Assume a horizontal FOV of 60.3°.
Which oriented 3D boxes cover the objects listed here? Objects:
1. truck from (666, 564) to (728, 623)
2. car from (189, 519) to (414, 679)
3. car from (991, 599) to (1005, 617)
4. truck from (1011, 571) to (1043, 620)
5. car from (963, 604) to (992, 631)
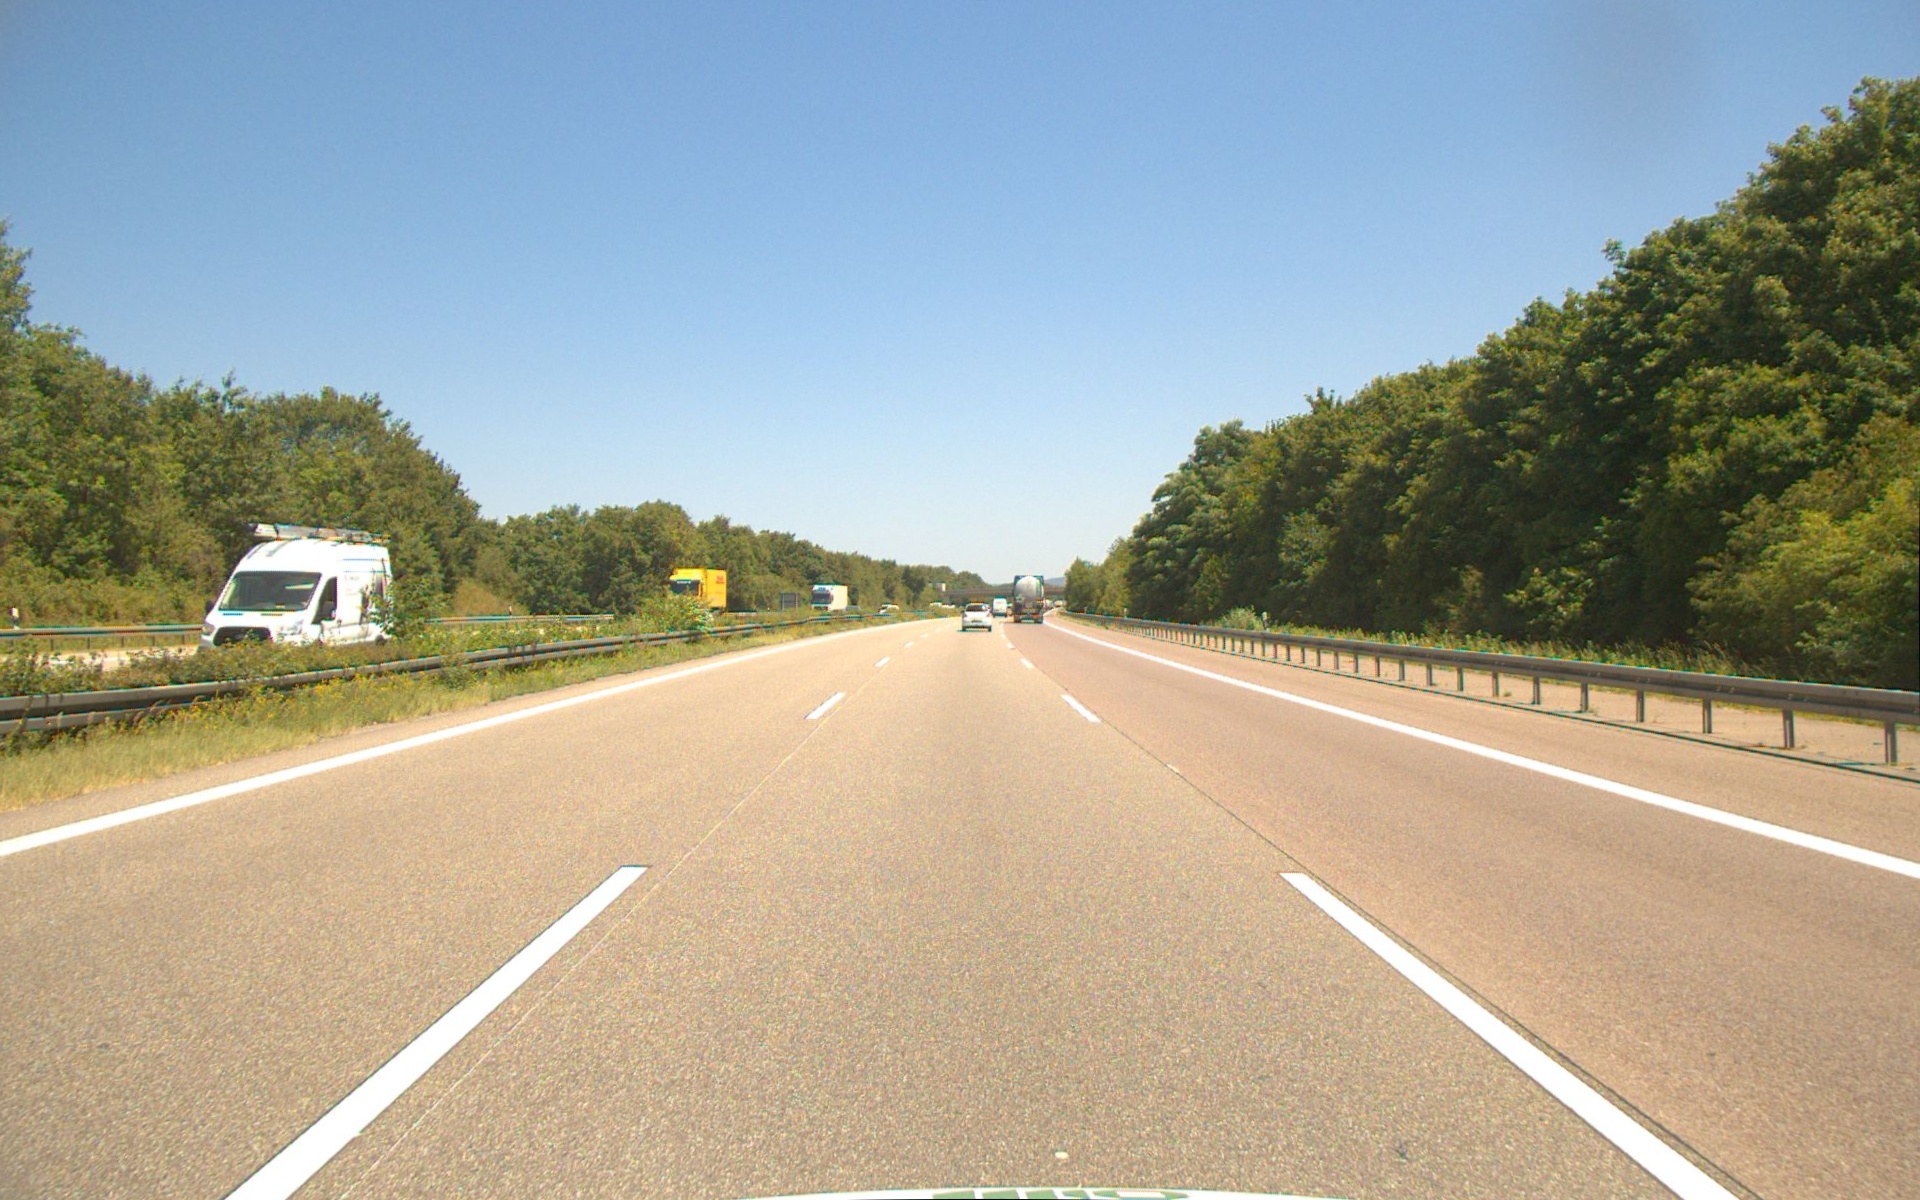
[{"bbox_3d":[-19.208,-0.349,121.421,2.693,4.111,10.792,0,-1,1],"label":"truck"},{"bbox_3d":[-12.697,-0.014,32.388,2.045,2.827,5.828,0,0,0],"label":"car"},{"bbox_3d":[5.274,1.115,229.407,1.952,2.384,4.387,0,0,1],"label":"car"},{"bbox_3d":[5.799,-0.375,144.515,2.682,4.123,10.456,0,0,2],"label":"truck"},{"bbox_3d":[0.990,0.966,92.826,1.594,1.505,4.000,0,0,1],"label":"car"}]
